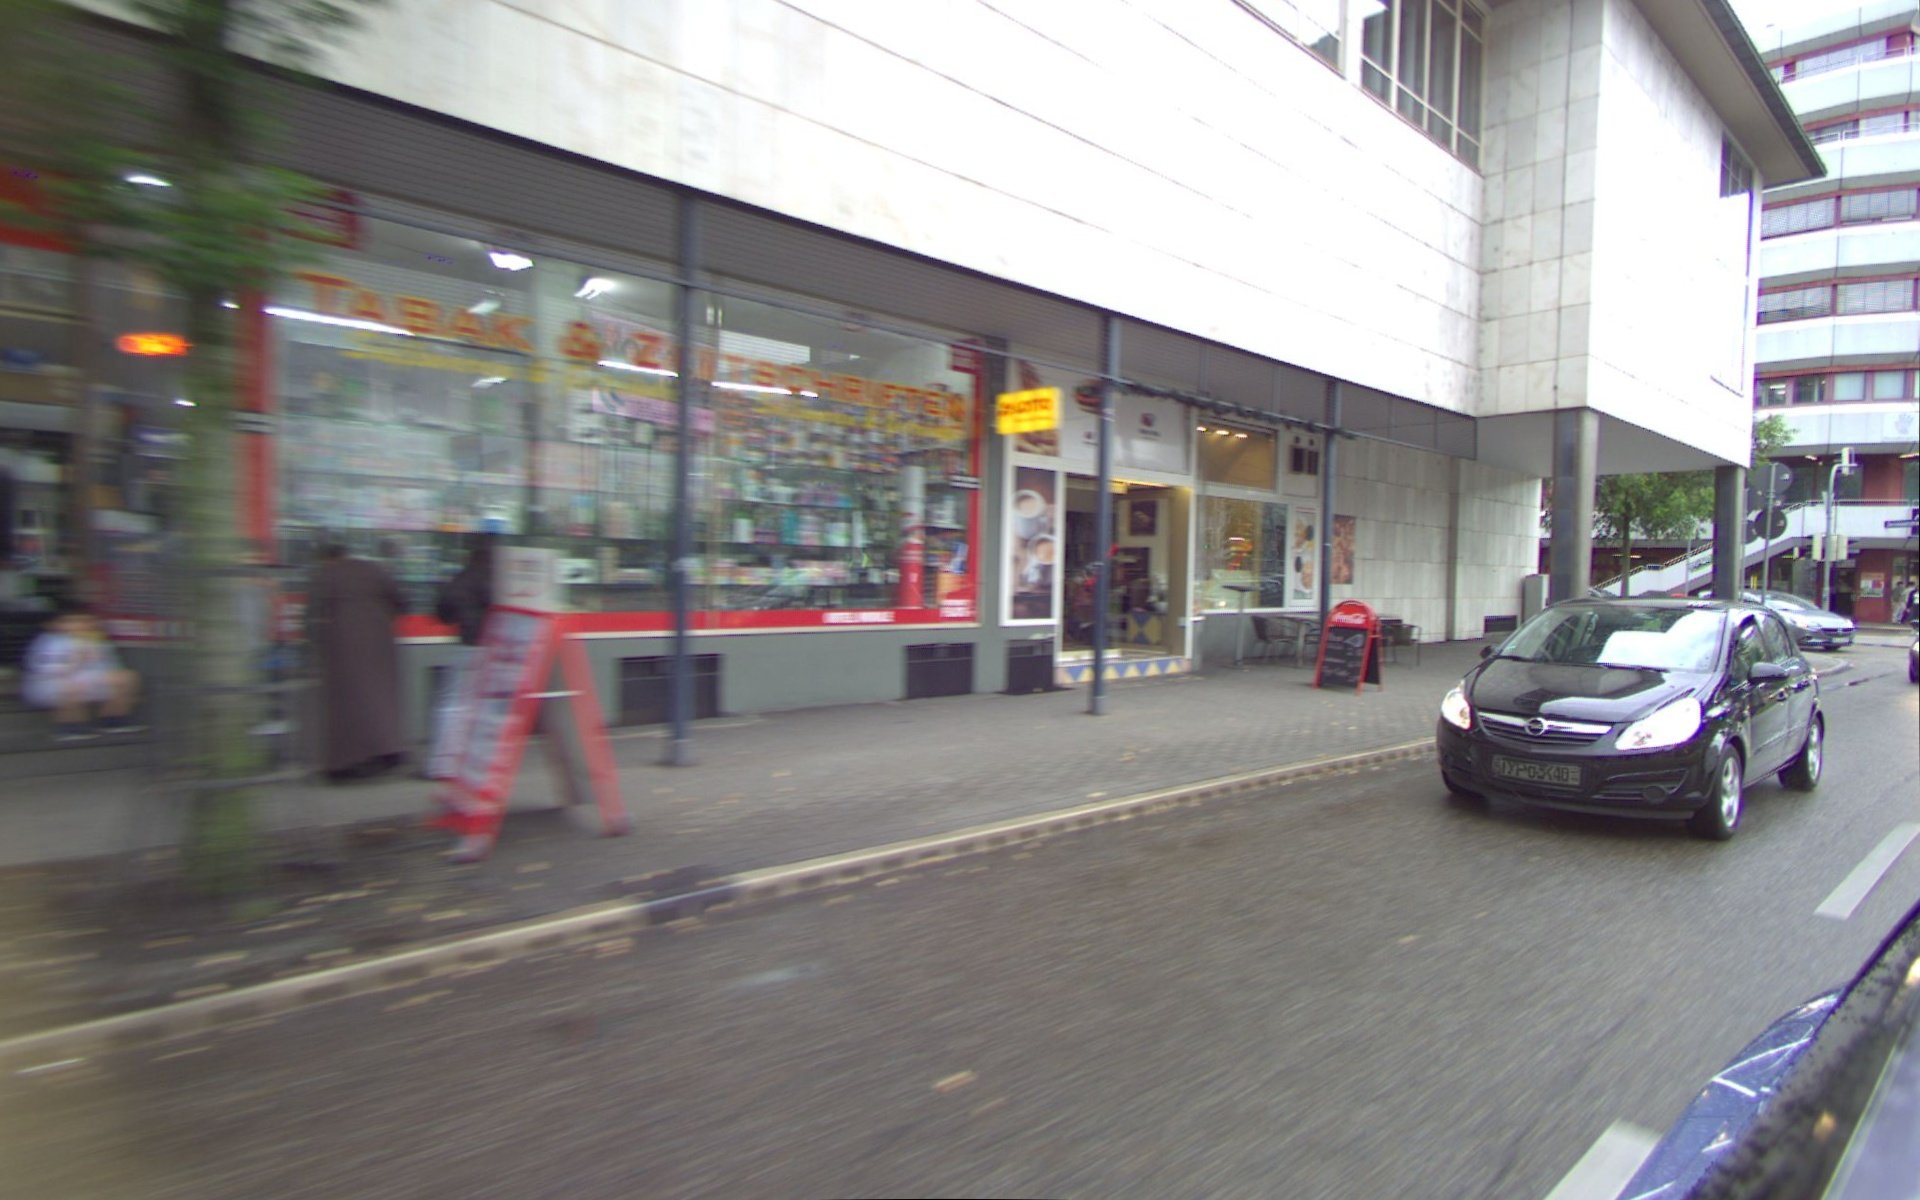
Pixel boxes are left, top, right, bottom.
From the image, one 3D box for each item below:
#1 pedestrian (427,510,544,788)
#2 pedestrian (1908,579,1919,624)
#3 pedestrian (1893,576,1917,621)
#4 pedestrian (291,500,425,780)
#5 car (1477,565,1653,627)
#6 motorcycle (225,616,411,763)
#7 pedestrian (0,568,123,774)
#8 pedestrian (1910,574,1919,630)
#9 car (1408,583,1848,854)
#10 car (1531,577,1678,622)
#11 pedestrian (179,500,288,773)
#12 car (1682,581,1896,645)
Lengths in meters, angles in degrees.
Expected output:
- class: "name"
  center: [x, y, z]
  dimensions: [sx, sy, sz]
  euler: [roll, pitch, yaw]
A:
- class: "pedestrian"
  center: [-2.862, 0.270, 6.102]
  dimensions: [0.501, 1.585, 0.430]
  euler: [1, 2, -43]
- class: "pedestrian"
  center: [38.369, 0.046, 40.393]
  dimensions: [0.483, 1.784, 0.598]
  euler: [-2, 2, -28]
- class: "pedestrian"
  center: [37.931, -0.053, 40.612]
  dimensions: [0.521, 1.784, 0.508]
  euler: [0, 2, 19]
- class: "pedestrian"
  center: [-3.571, 0.223, 6.022]
  dimensions: [0.500, 1.585, 0.430]
  euler: [2, 2, 5]
- class: "car"
  center: [19.794, -0.200, 33.314]
  dimensions: [1.822, 1.780, 4.608]
  euler: [-1, 4, -37]
- class: "motorcycle"
  center: [-3.905, 0.519, 6.182]
  dimensions: [0.904, 0.814, 0.325]
  euler: [1, 2, -42]
- class: "pedestrian"
  center: [-5.395, 0.392, 6.002]
  dimensions: [0.424, 1.150, 0.507]
  euler: [3, 2, 14]
- class: "pedestrian"
  center: [31.367, 0.057, 32.793]
  dimensions: [0.663, 1.795, 0.625]
  euler: [-2, 2, -22]
- class: "car"
  center: [4.982, 0.630, 7.375]
  dimensions: [3.676, 1.475, 1.711]
  euler: [0, 1, -40]
- class: "car"
  center: [23.991, -0.060, 37.784]
  dimensions: [1.756, 1.437, 4.268]
  euler: [0, 3, -41]
- class: "pedestrian"
  center: [-4.427, 0.203, 6.173]
  dimensions: [0.500, 1.585, 0.430]
  euler: [1, 2, -37]
- class: "car"
  center: [21.494, 0.277, 26.479]
  dimensions: [1.959, 1.495, 4.008]
  euler: [0, 2, -10]
